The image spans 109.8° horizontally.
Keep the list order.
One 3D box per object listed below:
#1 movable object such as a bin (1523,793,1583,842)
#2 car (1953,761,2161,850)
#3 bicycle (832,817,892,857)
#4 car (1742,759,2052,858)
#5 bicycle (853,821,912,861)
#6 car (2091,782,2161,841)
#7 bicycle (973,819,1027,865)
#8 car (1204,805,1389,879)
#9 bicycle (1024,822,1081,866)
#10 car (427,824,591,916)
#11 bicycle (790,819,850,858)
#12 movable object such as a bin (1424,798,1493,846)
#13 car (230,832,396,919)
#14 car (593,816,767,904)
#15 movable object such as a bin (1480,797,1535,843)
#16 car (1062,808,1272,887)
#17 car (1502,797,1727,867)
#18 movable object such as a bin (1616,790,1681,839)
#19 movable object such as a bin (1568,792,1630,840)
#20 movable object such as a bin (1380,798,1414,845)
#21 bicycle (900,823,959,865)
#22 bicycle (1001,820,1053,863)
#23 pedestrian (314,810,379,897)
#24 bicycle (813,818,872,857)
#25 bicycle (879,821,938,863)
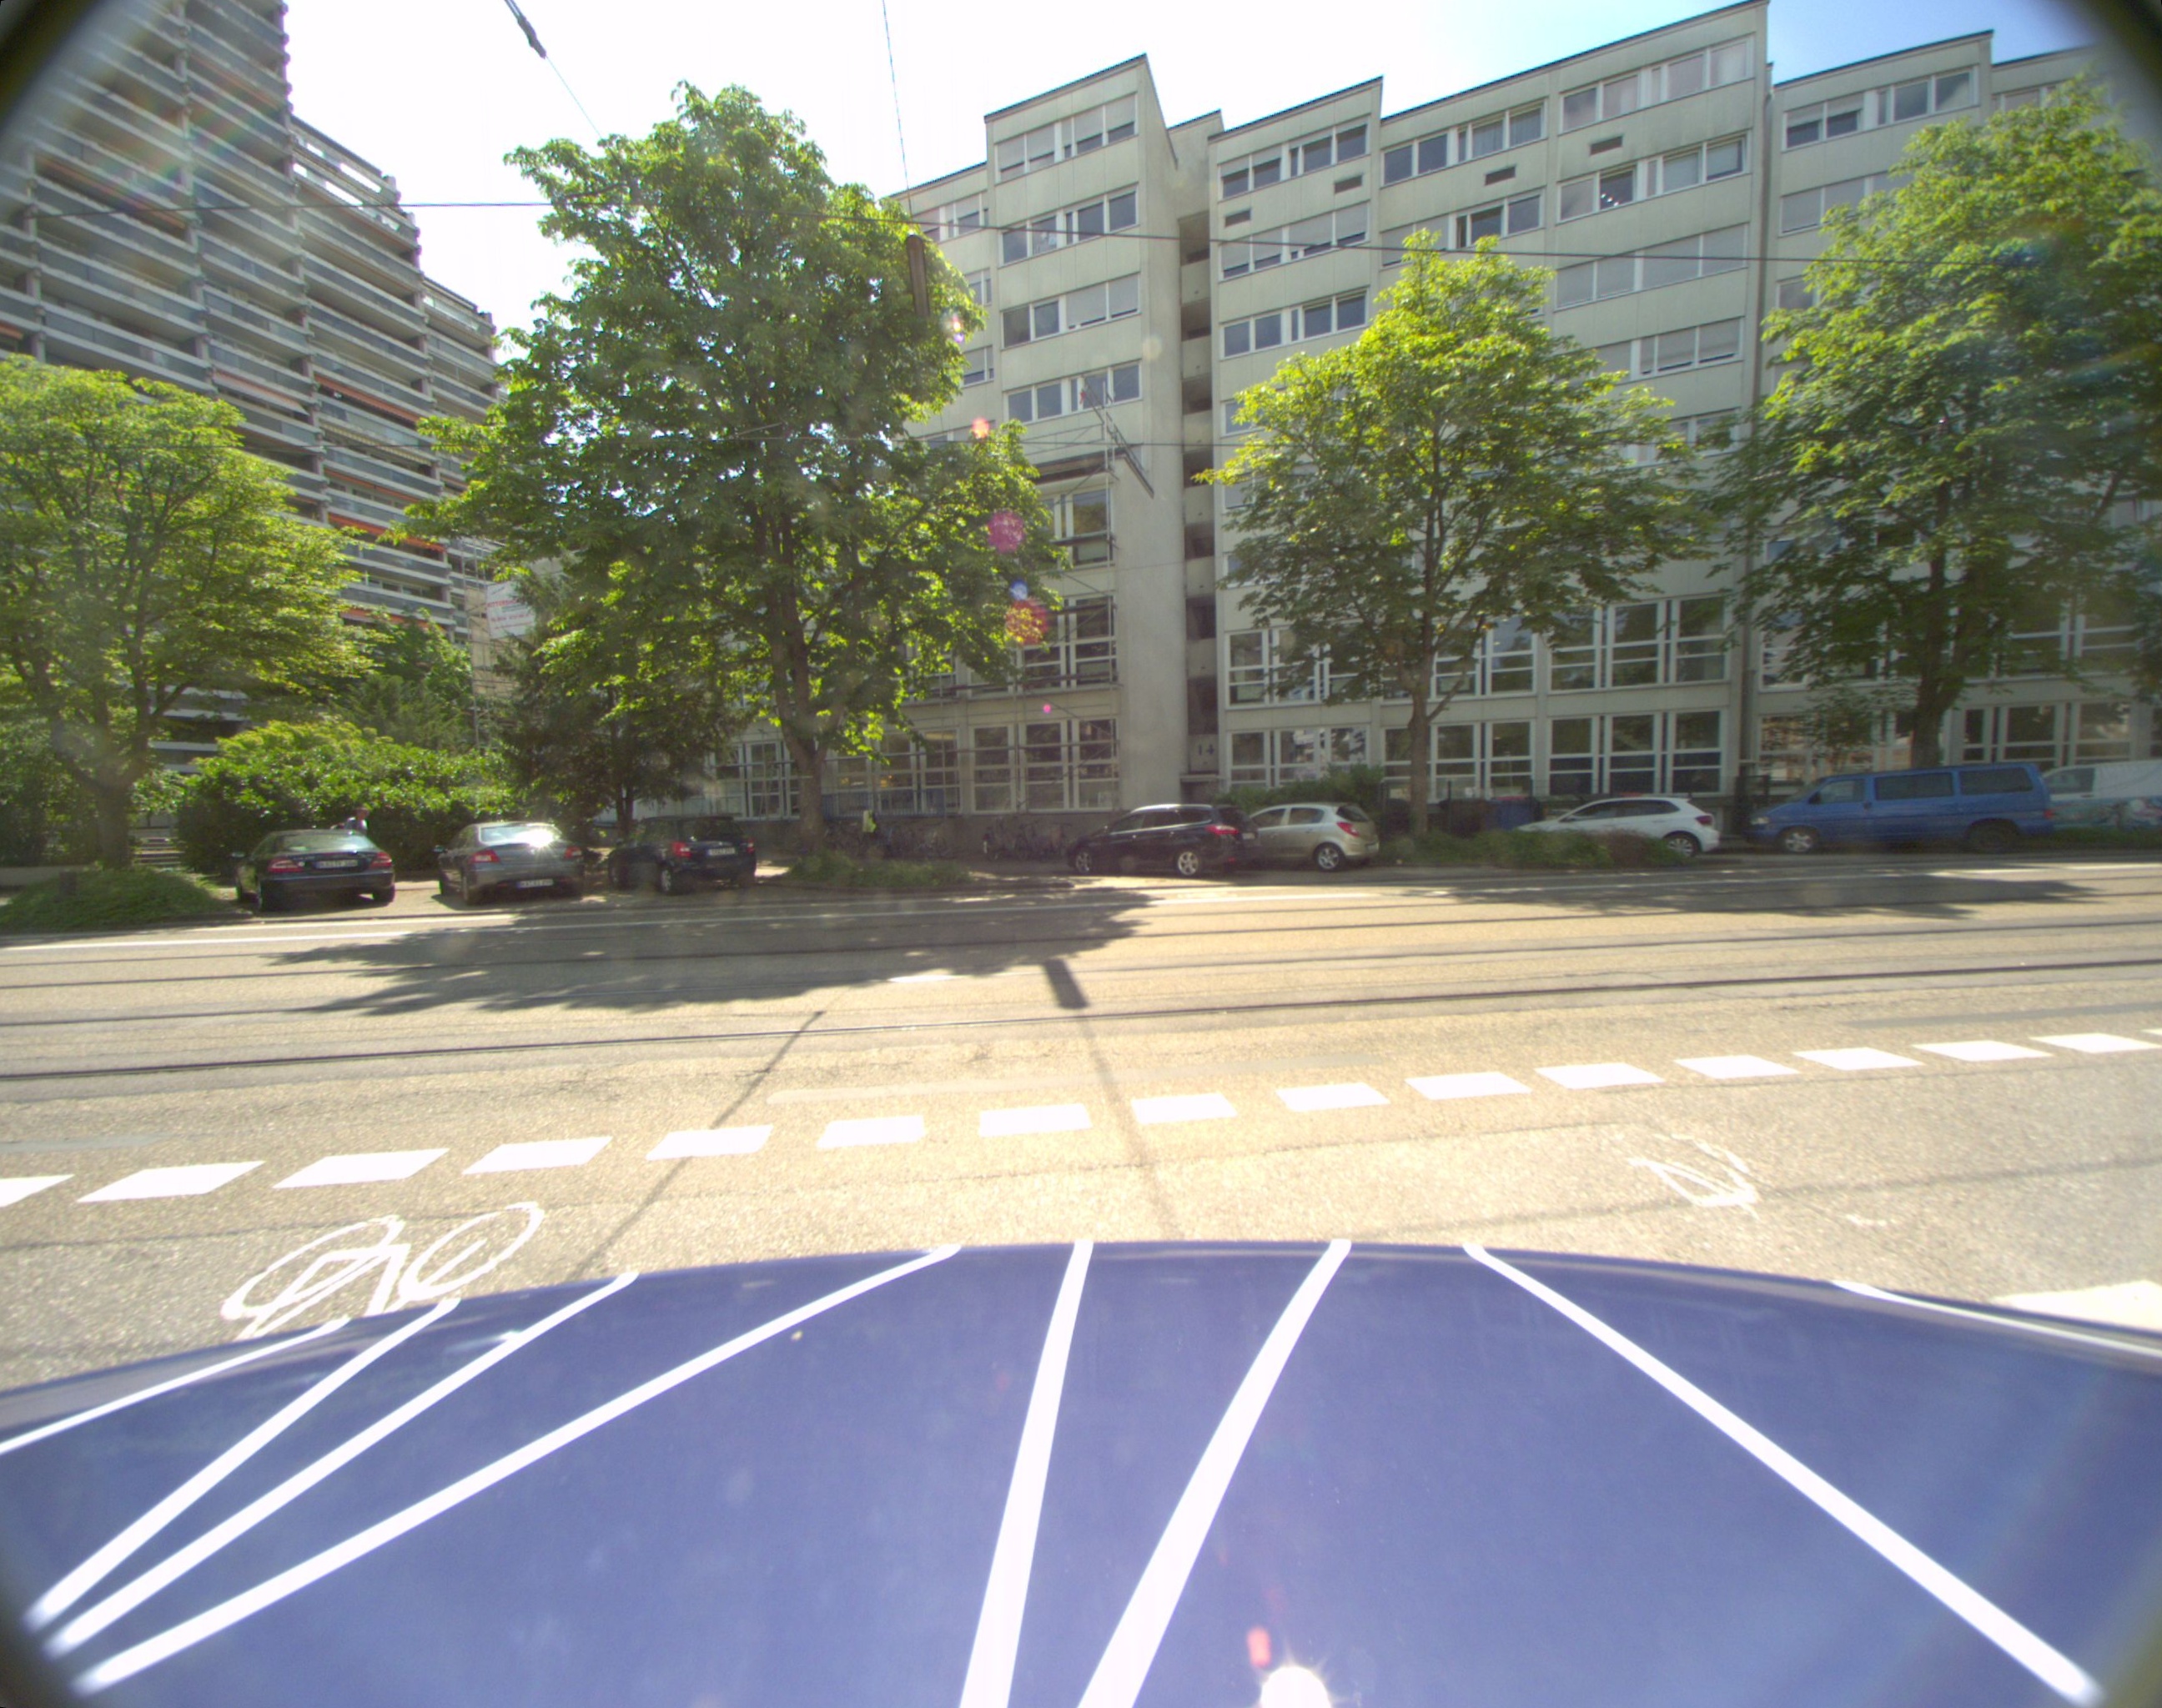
[{"bbox_3d":[14.155,-1.096,22.812,1.180,1.391,1.037,-2,3,2],"label":"movable object such as a bin"},{"bbox_3d":[24.643,-1.175,18.324,2.003,2.003,4.616,-5,5,-43],"label":"car"},{"bbox_3d":[-6.641,-0.532,23.110,0.567,1.124,1.930,0,4,26],"label":"bicycle"},{"bbox_3d":[18.502,-1.016,17.660,4.616,2.003,2.003,1,4,39],"label":"car"},{"bbox_3d":[-5.941,-0.412,22.846,0.567,1.124,1.946,0,4,26],"label":"bicycle"},{"bbox_3d":[28.164,-1.066,18.598,1.673,1.478,3.988,-4,4,-40],"label":"car"},{"bbox_3d":[-2.302,-0.380,21.922,0.567,1.231,1.946,0,4,26],"label":"bicycle"},{"bbox_3d":[4.721,-0.302,16.784,3.529,1.454,1.757,1,4,38],"label":"car"},{"bbox_3d":[-0.768,-0.312,21.347,0.567,1.124,2.237,0,4,26],"label":"bicycle"},{"bbox_3d":[-11.083,0.210,14.612,4.010,1.455,1.823,1,5,44],"label":"car"},{"bbox_3d":[-8.094,-0.509,23.630,0.567,1.124,1.930,0,4,22],"label":"bicycle"},{"bbox_3d":[11.080,-0.951,22.344,1.451,1.323,1.125,-2,3,-4],"label":"movable object such as a bin"},{"bbox_3d":[-14.536,0.303,14.318,4.010,1.366,1.632,1,5,38],"label":"car"},{"bbox_3d":[-8.005,0.053,15.089,3.565,1.509,1.653,1,4,38],"label":"car"},{"bbox_3d":[12.641,-1.006,22.554,1.077,1.323,0.970,-2,3,-4],"label":"movable object such as a bin"},{"bbox_3d":[1.780,-0.179,16.399,4.185,1.462,1.757,1,4,38],"label":"car"},{"bbox_3d":[11.891,-0.515,17.128,3.969,1.406,1.718,1,4,38],"label":"car"},{"bbox_3d":[17.100,-1.186,22.933,1.180,1.391,1.037,-2,3,2],"label":"movable object such as a bin"},{"bbox_3d":[15.571,-1.140,22.873,1.180,1.391,1.037,-2,3,2],"label":"movable object such as a bin"},{"bbox_3d":[9.805,-1.011,23.572,0.803,1.398,0.767,-1,3,8],"label":"movable object such as a bin"},{"bbox_3d":[-4.369,-0.314,22.025,0.567,1.124,1.946,0,4,26],"label":"bicycle"},{"bbox_3d":[-1.528,-0.373,21.740,0.567,1.124,1.946,0,4,26],"label":"bicycle"},{"bbox_3d":[-16.177,-0.026,16.754,0.577,1.865,0.715,-1,4,8],"label":"pedestrian"},{"bbox_3d":[-7.336,-0.528,23.443,0.567,1.124,1.930,0,4,22],"label":"bicycle"},{"bbox_3d":[-5.050,-0.379,22.426,0.567,1.124,1.946,0,4,26],"label":"bicycle"}]
